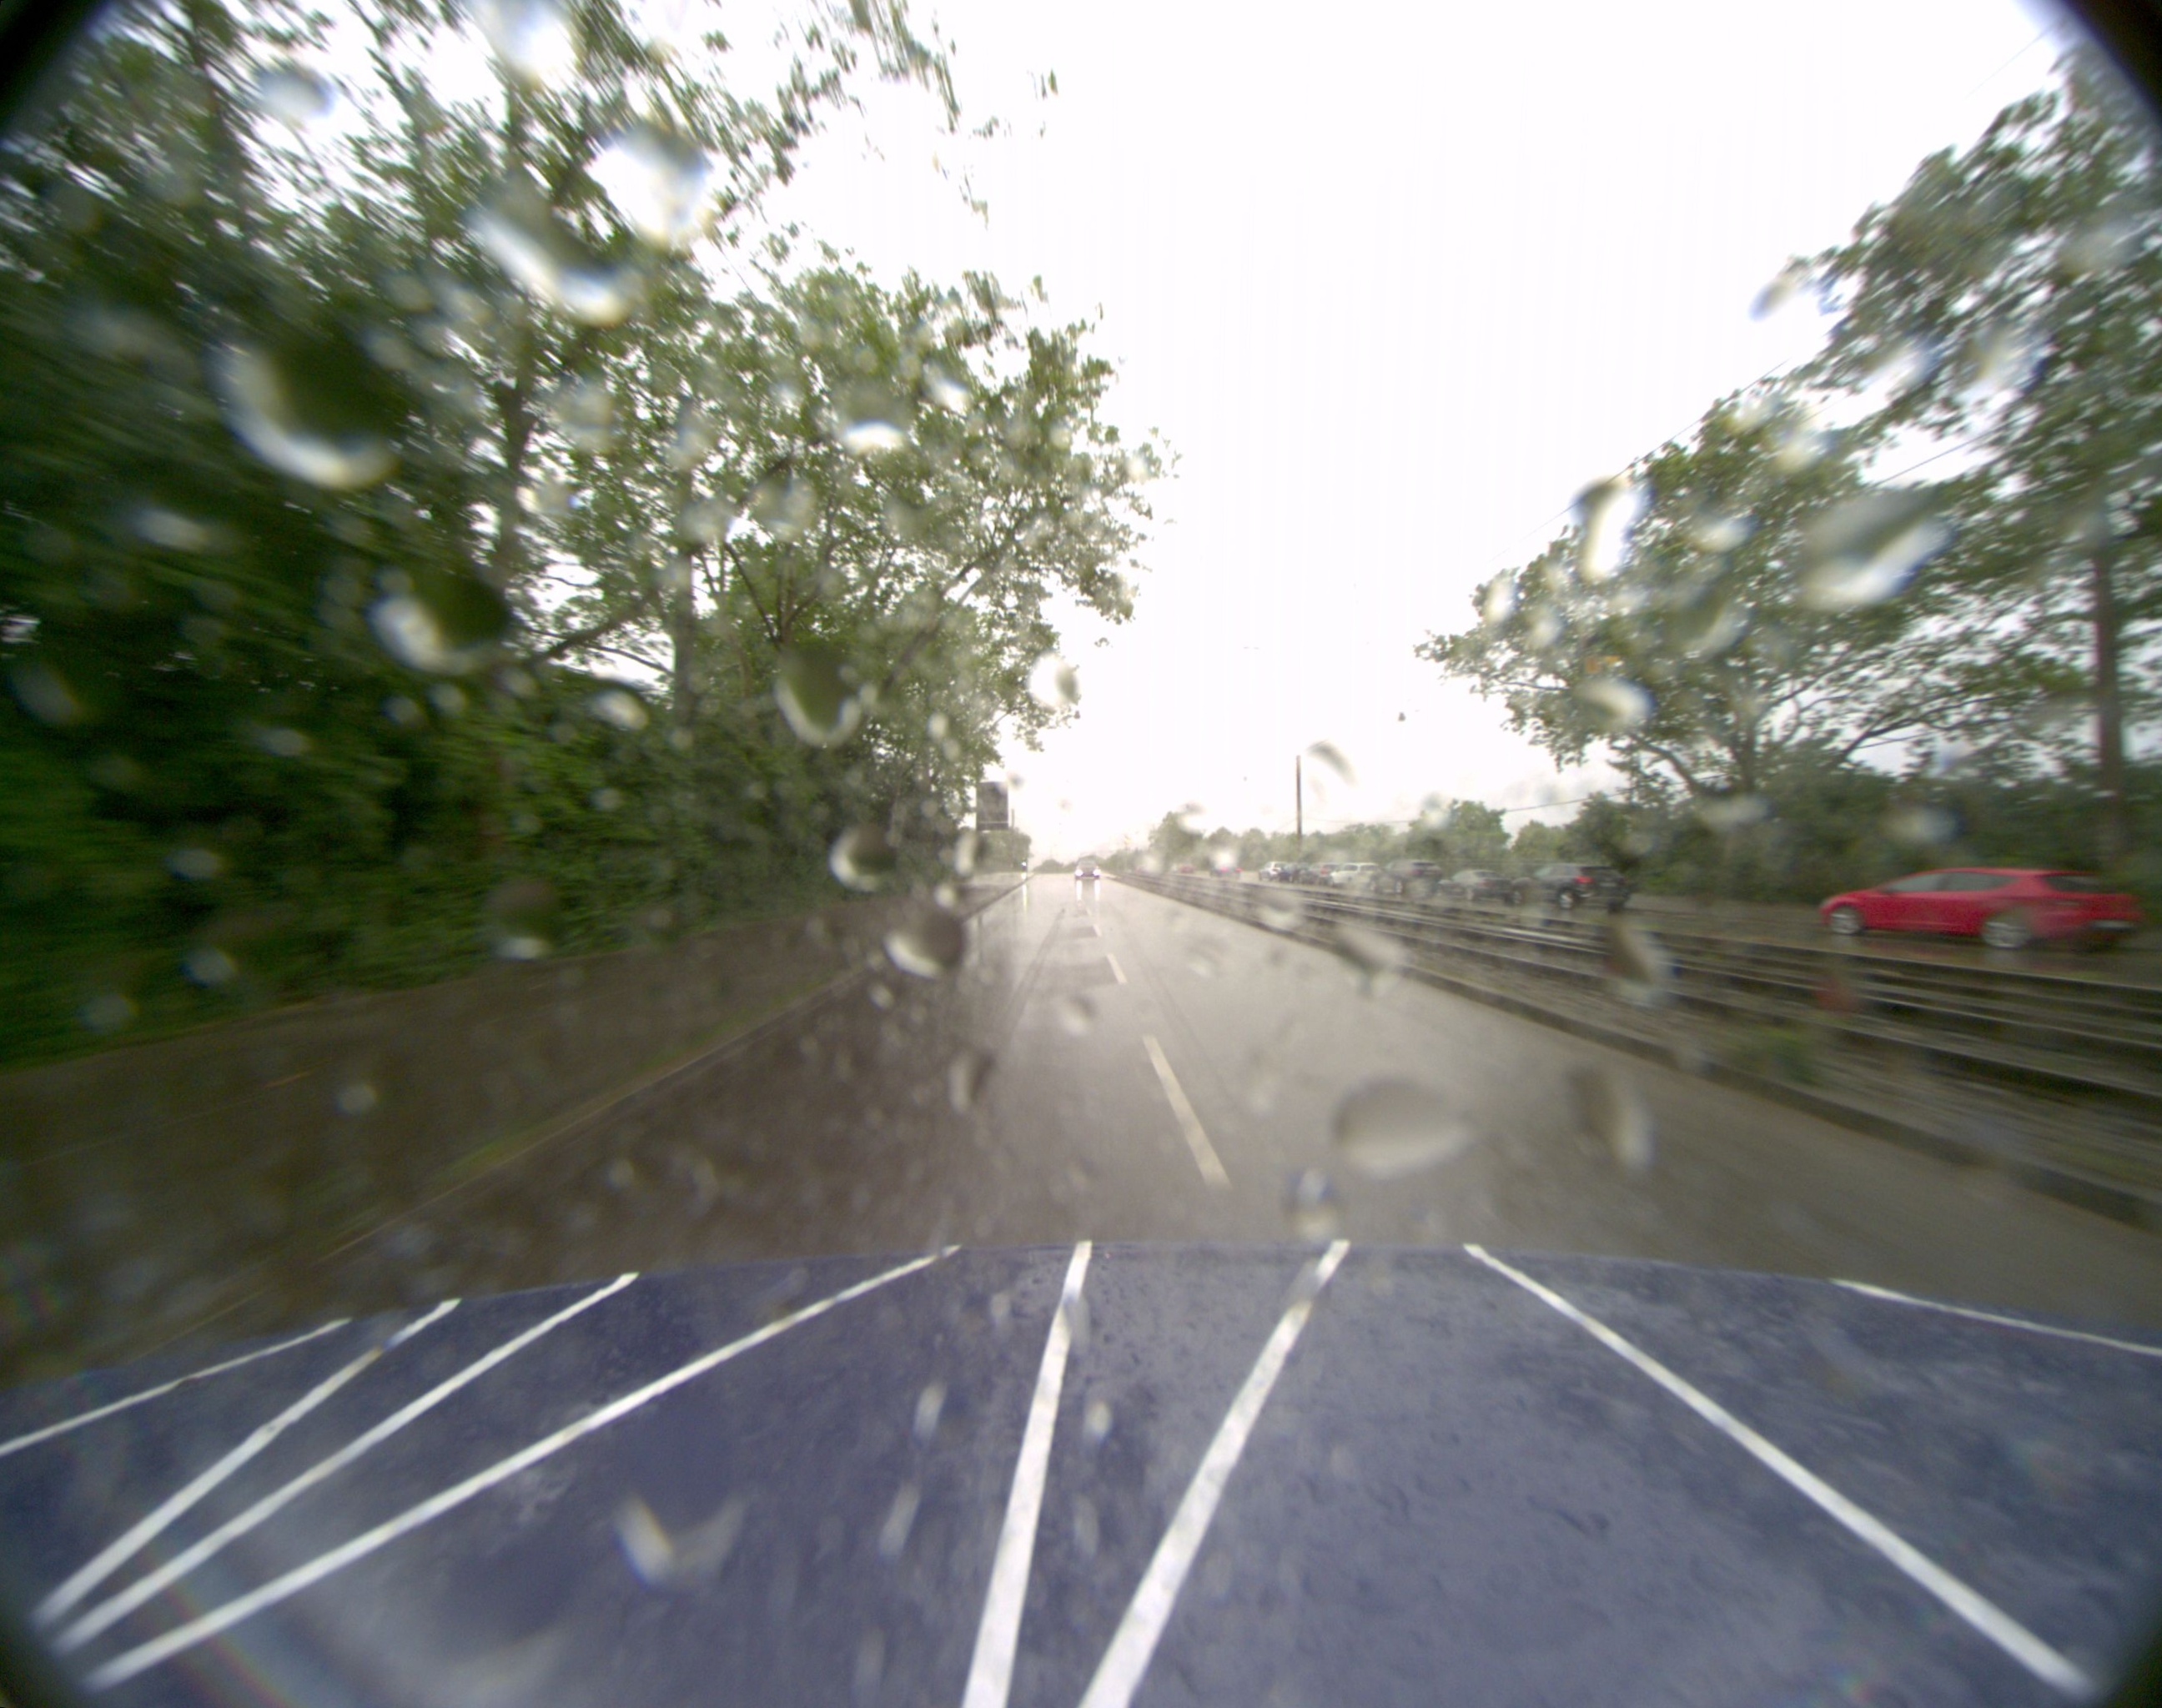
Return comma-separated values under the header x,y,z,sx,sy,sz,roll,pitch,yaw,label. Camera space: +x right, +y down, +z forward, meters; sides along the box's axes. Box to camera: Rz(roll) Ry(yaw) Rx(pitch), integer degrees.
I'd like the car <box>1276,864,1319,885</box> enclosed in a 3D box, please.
x,y,z,sx,sy,sz,roll,pitch,yaw,label
15.554,1.429,54.806,1.653,1.423,3.924,1,-1,-5,car

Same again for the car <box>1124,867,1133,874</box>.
x,y,z,sx,sy,sz,roll,pitch,yaw,label
11.390,3.939,181.771,1.998,1.706,4.000,-2,0,1,car

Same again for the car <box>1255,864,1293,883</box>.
x,y,z,sx,sy,sz,roll,pitch,yaw,label
15.169,1.489,60.035,1.653,1.423,4.151,1,-1,-5,car

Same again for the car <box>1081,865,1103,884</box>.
x,y,z,sx,sy,sz,roll,pitch,yaw,label
0.865,1.650,62.154,1.727,1.425,3.852,-1,-1,0,car

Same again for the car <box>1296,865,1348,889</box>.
x,y,z,sx,sy,sz,roll,pitch,yaw,label
15.578,1.472,49.288,1.653,1.423,4.130,1,-1,-7,car

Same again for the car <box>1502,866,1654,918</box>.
x,y,z,sx,sy,sz,roll,pitch,yaw,label
16.540,1.210,25.605,2.039,1.543,4.383,1,-1,-4,car

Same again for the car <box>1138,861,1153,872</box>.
x,y,z,sx,sy,sz,roll,pitch,yaw,label
10.323,2.026,122.472,1.999,1.706,4.000,-2,0,0,car

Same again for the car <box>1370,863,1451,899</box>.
x,y,z,sx,sy,sz,roll,pitch,yaw,label
15.940,1.251,37.052,1.891,1.640,4.368,1,-1,-2,car

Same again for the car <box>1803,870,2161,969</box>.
x,y,z,sx,sy,sz,roll,pitch,yaw,label
16.943,1.110,14.508,2.039,1.543,4.384,1,-1,-2,car

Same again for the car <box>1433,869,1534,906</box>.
x,y,z,sx,sy,sz,roll,pitch,yaw,label
16.270,1.329,30.962,1.891,1.371,3.965,1,-1,-2,car

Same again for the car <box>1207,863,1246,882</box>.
x,y,z,sx,sy,sz,roll,pitch,yaw,label
12.161,1.525,63.784,2.039,1.458,4.917,1,-1,-4,car

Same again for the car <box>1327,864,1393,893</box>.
x,y,z,sx,sy,sz,roll,pitch,yaw,label
15.771,1.366,43.215,1.891,1.502,4.578,1,-1,-3,car

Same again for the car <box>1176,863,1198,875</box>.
x,y,z,sx,sy,sz,roll,pitch,yaw,label
14.071,1.962,101.047,2.039,1.458,4.917,-1,-1,-4,car
